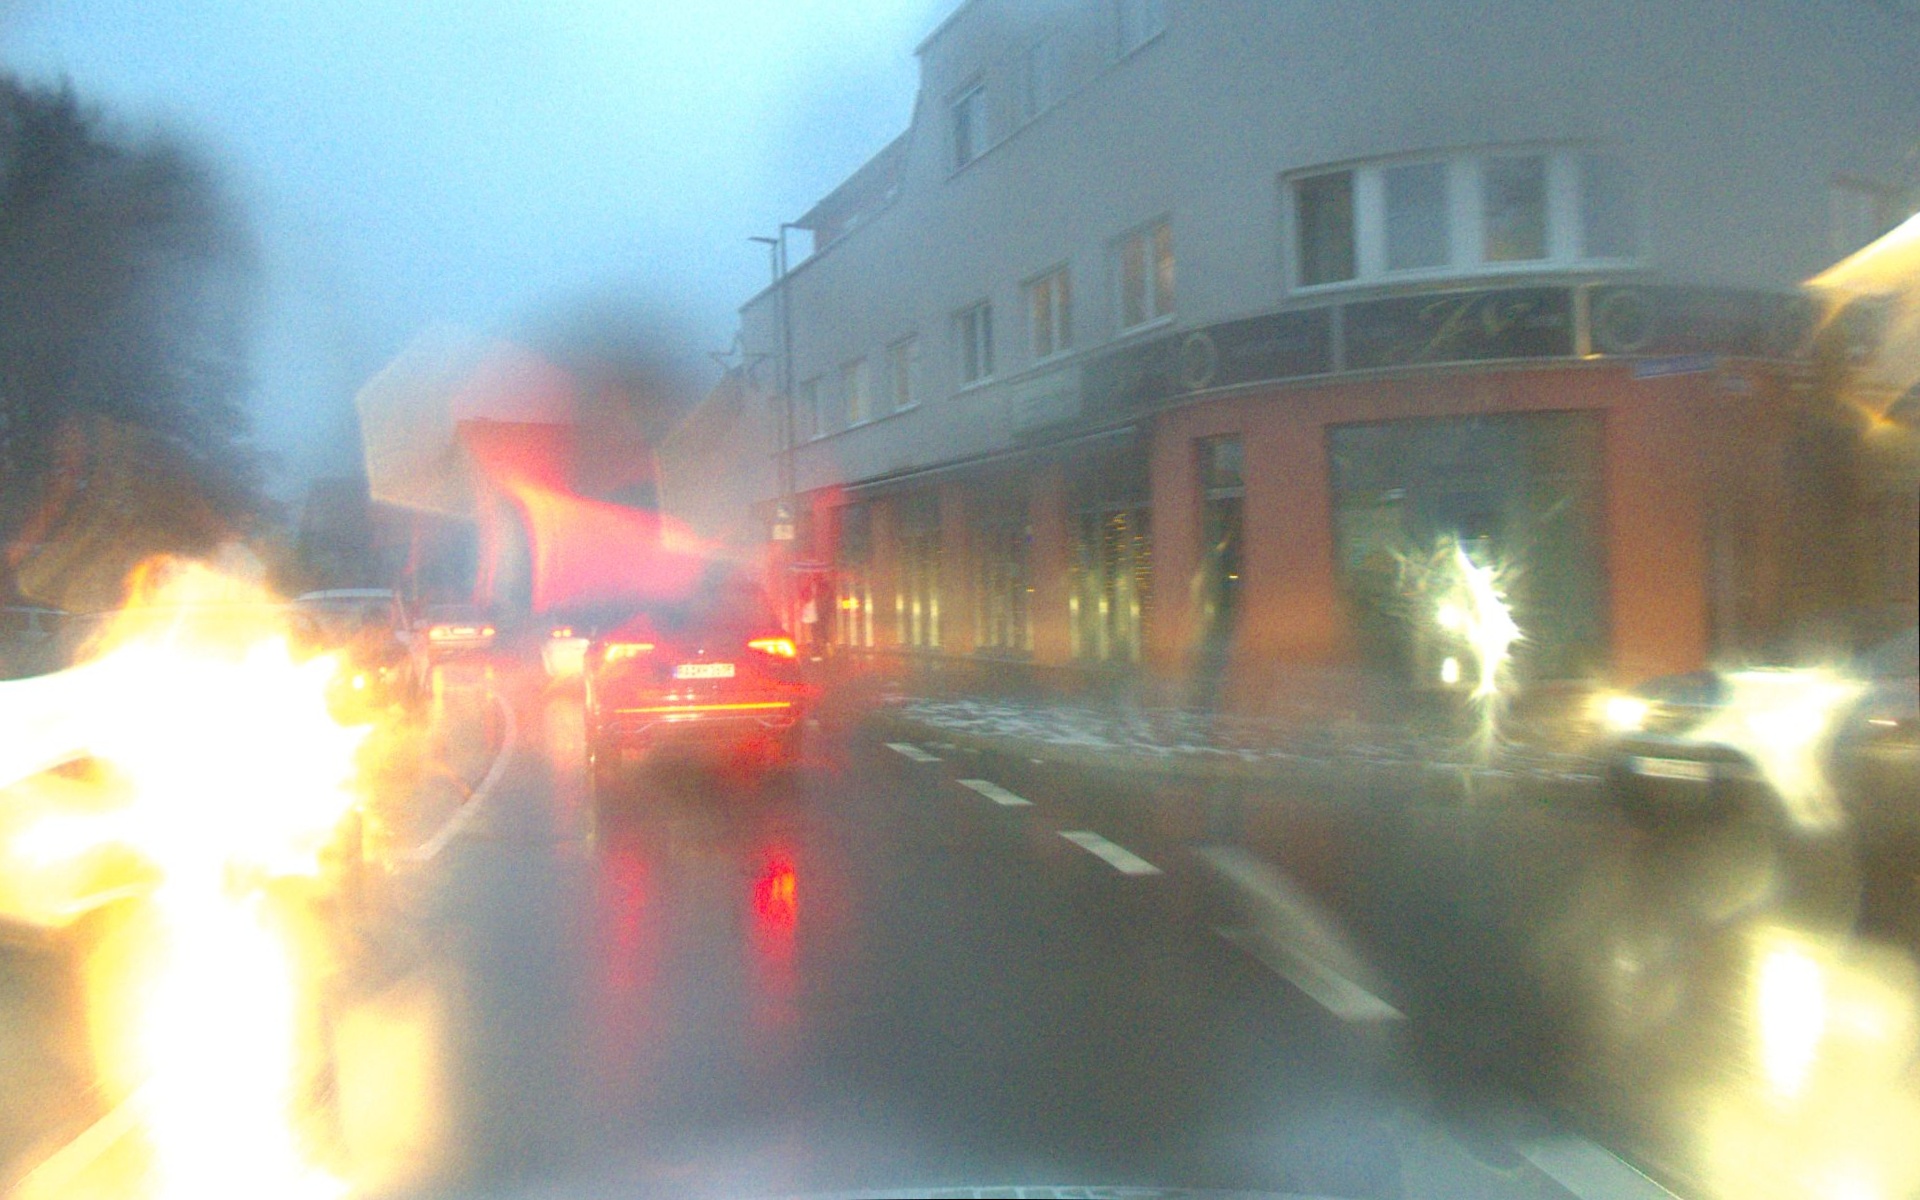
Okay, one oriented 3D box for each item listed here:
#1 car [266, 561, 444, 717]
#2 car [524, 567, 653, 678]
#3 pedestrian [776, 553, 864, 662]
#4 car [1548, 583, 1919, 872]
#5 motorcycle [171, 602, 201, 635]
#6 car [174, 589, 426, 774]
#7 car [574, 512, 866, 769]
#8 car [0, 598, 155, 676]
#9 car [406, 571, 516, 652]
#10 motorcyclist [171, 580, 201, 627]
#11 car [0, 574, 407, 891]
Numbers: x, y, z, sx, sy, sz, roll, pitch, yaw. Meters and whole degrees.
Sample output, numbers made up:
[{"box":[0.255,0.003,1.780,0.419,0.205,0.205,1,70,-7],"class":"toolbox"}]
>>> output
[{"box":[-7.637,0.427,21.223,1.742,1.753,4.403,-1,1,-15],"class":"car"},{"box":[-6.199,0.319,27.310,1.828,1.676,3.982,-1,1,-16],"class":"car"},{"box":[-2.583,0.128,30.371,1.237,1.898,1.295,-3,1,-20],"class":"pedestrian"},{"box":[5.851,0.673,10.201,4.116,1.466,1.784,1,1,-24],"class":"car"},{"box":[-24.947,0.589,53.347,0.854,1.042,2.093,-1,0,-25],"class":"motorcycle"},{"box":[-6.262,0.672,16.110,1.742,1.521,4.027,-1,1,-14],"class":"car"},{"box":[-2.423,0.309,15.765,2.269,1.972,5.003,-2,0,-12],"class":"car"},{"box":[-20.966,0.840,38.207,4.174,1.729,1.884,1,-1,-26],"class":"car"},{"box":[-13.465,0.298,44.387,2.278,1.972,4.982,-2,0,-23],"class":"car"},{"box":[-24.944,0.116,53.343,0.854,1.511,0.902,-1,0,-25],"class":"motorcyclist"},{"box":[-4.555,0.643,10.048,1.632,1.512,3.991,-1,0,-10],"class":"car"}]
